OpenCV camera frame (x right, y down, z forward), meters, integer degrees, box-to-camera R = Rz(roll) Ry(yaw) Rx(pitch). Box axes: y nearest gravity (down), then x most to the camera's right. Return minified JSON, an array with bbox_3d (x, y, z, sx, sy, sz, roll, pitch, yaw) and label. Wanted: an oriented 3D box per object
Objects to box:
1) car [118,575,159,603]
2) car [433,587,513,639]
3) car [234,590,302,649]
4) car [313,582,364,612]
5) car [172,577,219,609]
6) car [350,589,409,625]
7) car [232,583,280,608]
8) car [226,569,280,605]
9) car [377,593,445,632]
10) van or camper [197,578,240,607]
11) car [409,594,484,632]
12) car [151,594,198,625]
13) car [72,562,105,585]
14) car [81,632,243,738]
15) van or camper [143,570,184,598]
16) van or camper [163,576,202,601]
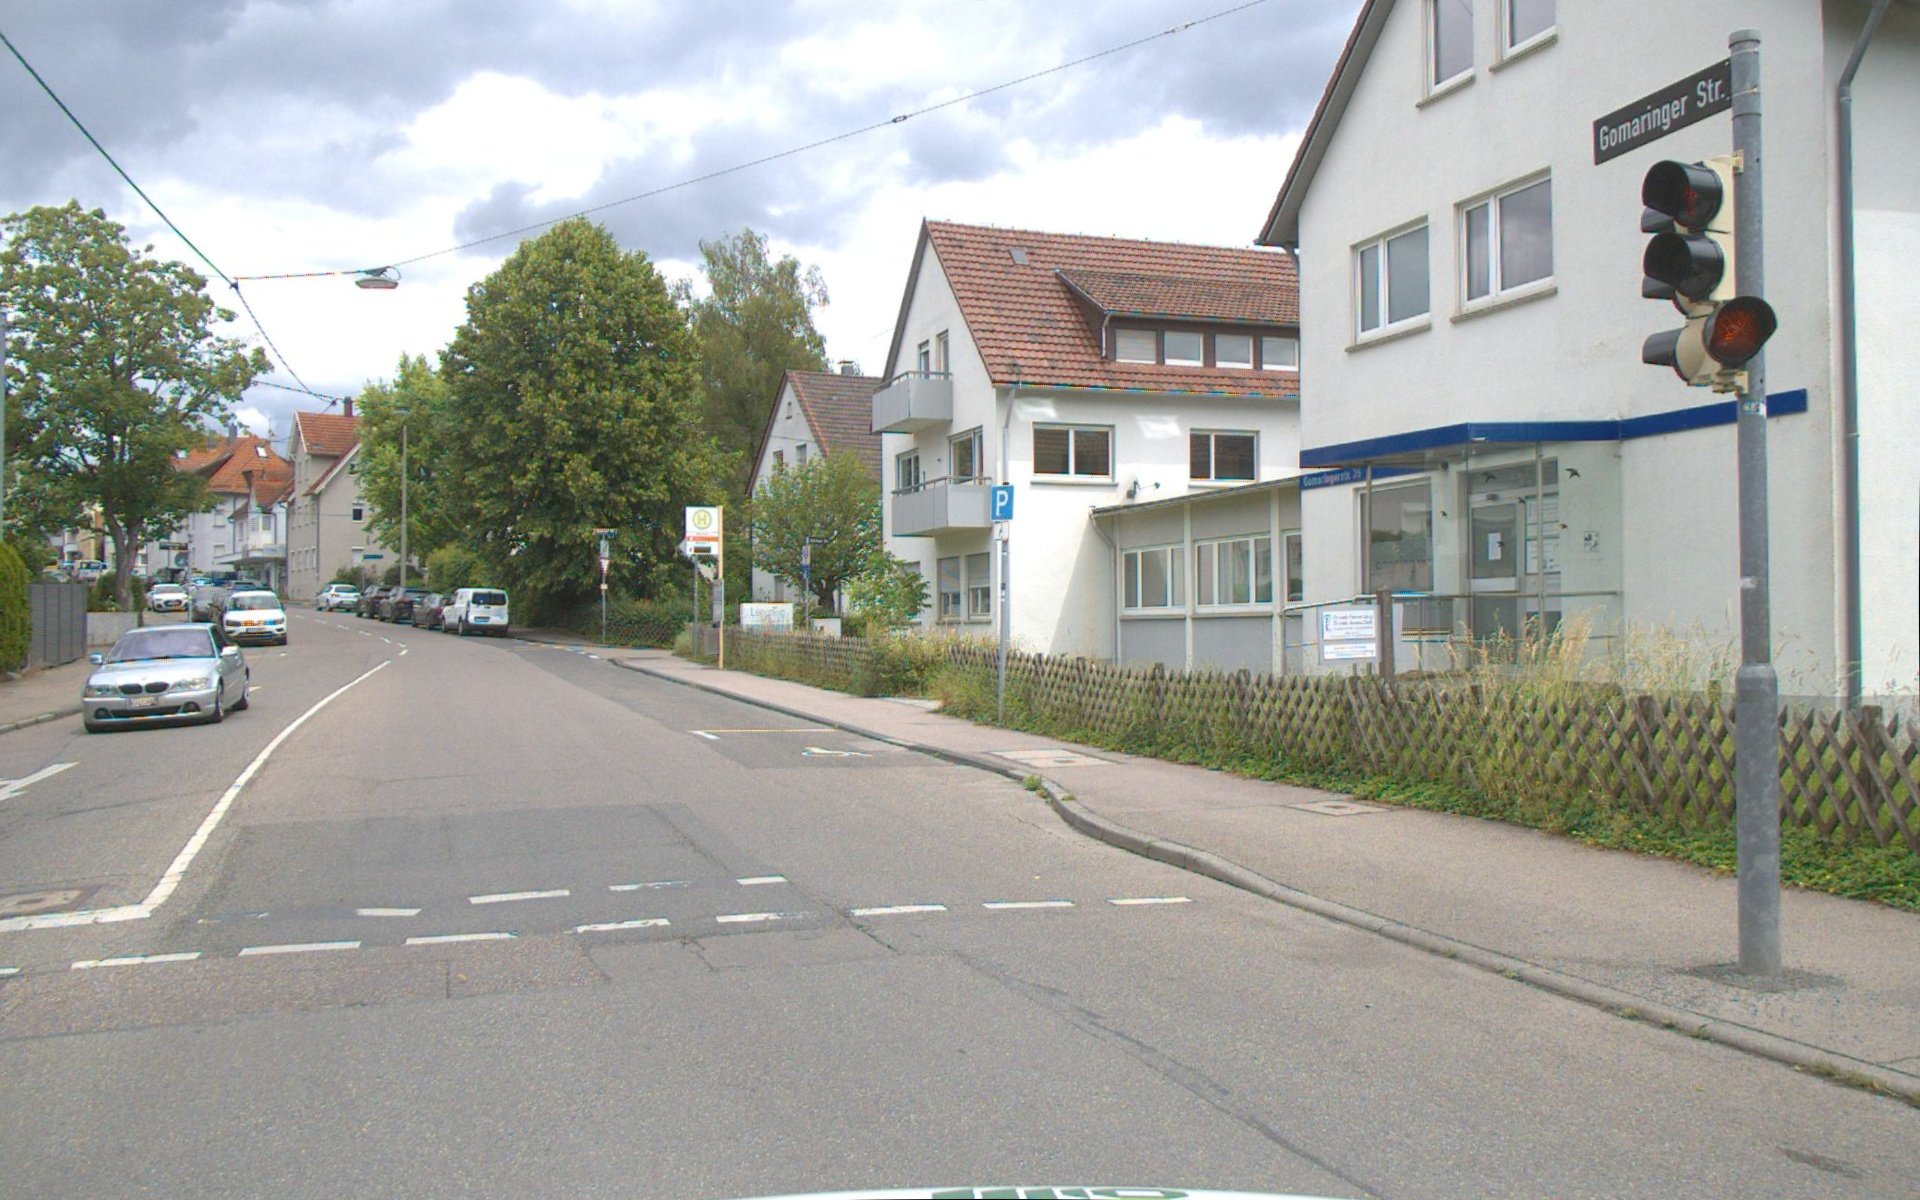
[{"bbox_3d":[-62.227,-0.829,125.273,2.135,2.049,3.949,2,0,-36],"label":"car"},{"bbox_3d":[-18.843,0.468,63.919,1.820,1.805,4.270,3,0,-32],"label":"car"},{"bbox_3d":[-22.240,0.577,53.064,1.826,1.744,4.539,-2,1,-25],"label":"car"},{"bbox_3d":[-33.516,-0.177,89.173,1.920,1.464,3.960,1,0,-30],"label":"car"},{"bbox_3d":[-51.548,-0.460,111.498,2.135,2.049,3.949,2,0,-36],"label":"car"},{"bbox_3d":[-27.930,0.326,79.471,1.792,1.643,4.492,2,-1,-31],"label":"car"},{"bbox_3d":[-47.208,-0.341,110.862,1.977,1.544,4.831,2,-1,-35],"label":"car"},{"bbox_3d":[-42.201,-0.767,98.672,2.135,2.049,3.949,2,0,-36],"label":"car"},{"bbox_3d":[-24.776,0.540,74.541,1.973,1.643,4.492,2,-1,-31],"label":"car"},{"bbox_3d":[-53.762,-0.537,119.926,1.911,1.959,4.770,1,0,-36],"label":"van or camper"},{"bbox_3d":[-21.361,0.526,68.706,1.973,1.504,4.572,0,0,-31],"label":"car"},{"bbox_3d":[-41.983,0.488,88.338,1.710,1.483,3.854,-4,3,-33],"label":"car"},{"bbox_3d":[-82.414,-2.531,156.350,2.135,2.049,3.949,2,0,-36],"label":"car"},{"bbox_3d":[-11.356,1.153,23.756,1.688,1.378,4.058,0,-1,-20],"label":"car"},{"bbox_3d":[-65.310,-1.333,135.553,1.977,2.102,5.871,3,-1,-35],"label":"van or camper"},{"bbox_3d":[-60.694,-0.904,129.092,1.856,1.860,4.621,3,-1,-36],"label":"van or camper"}]
